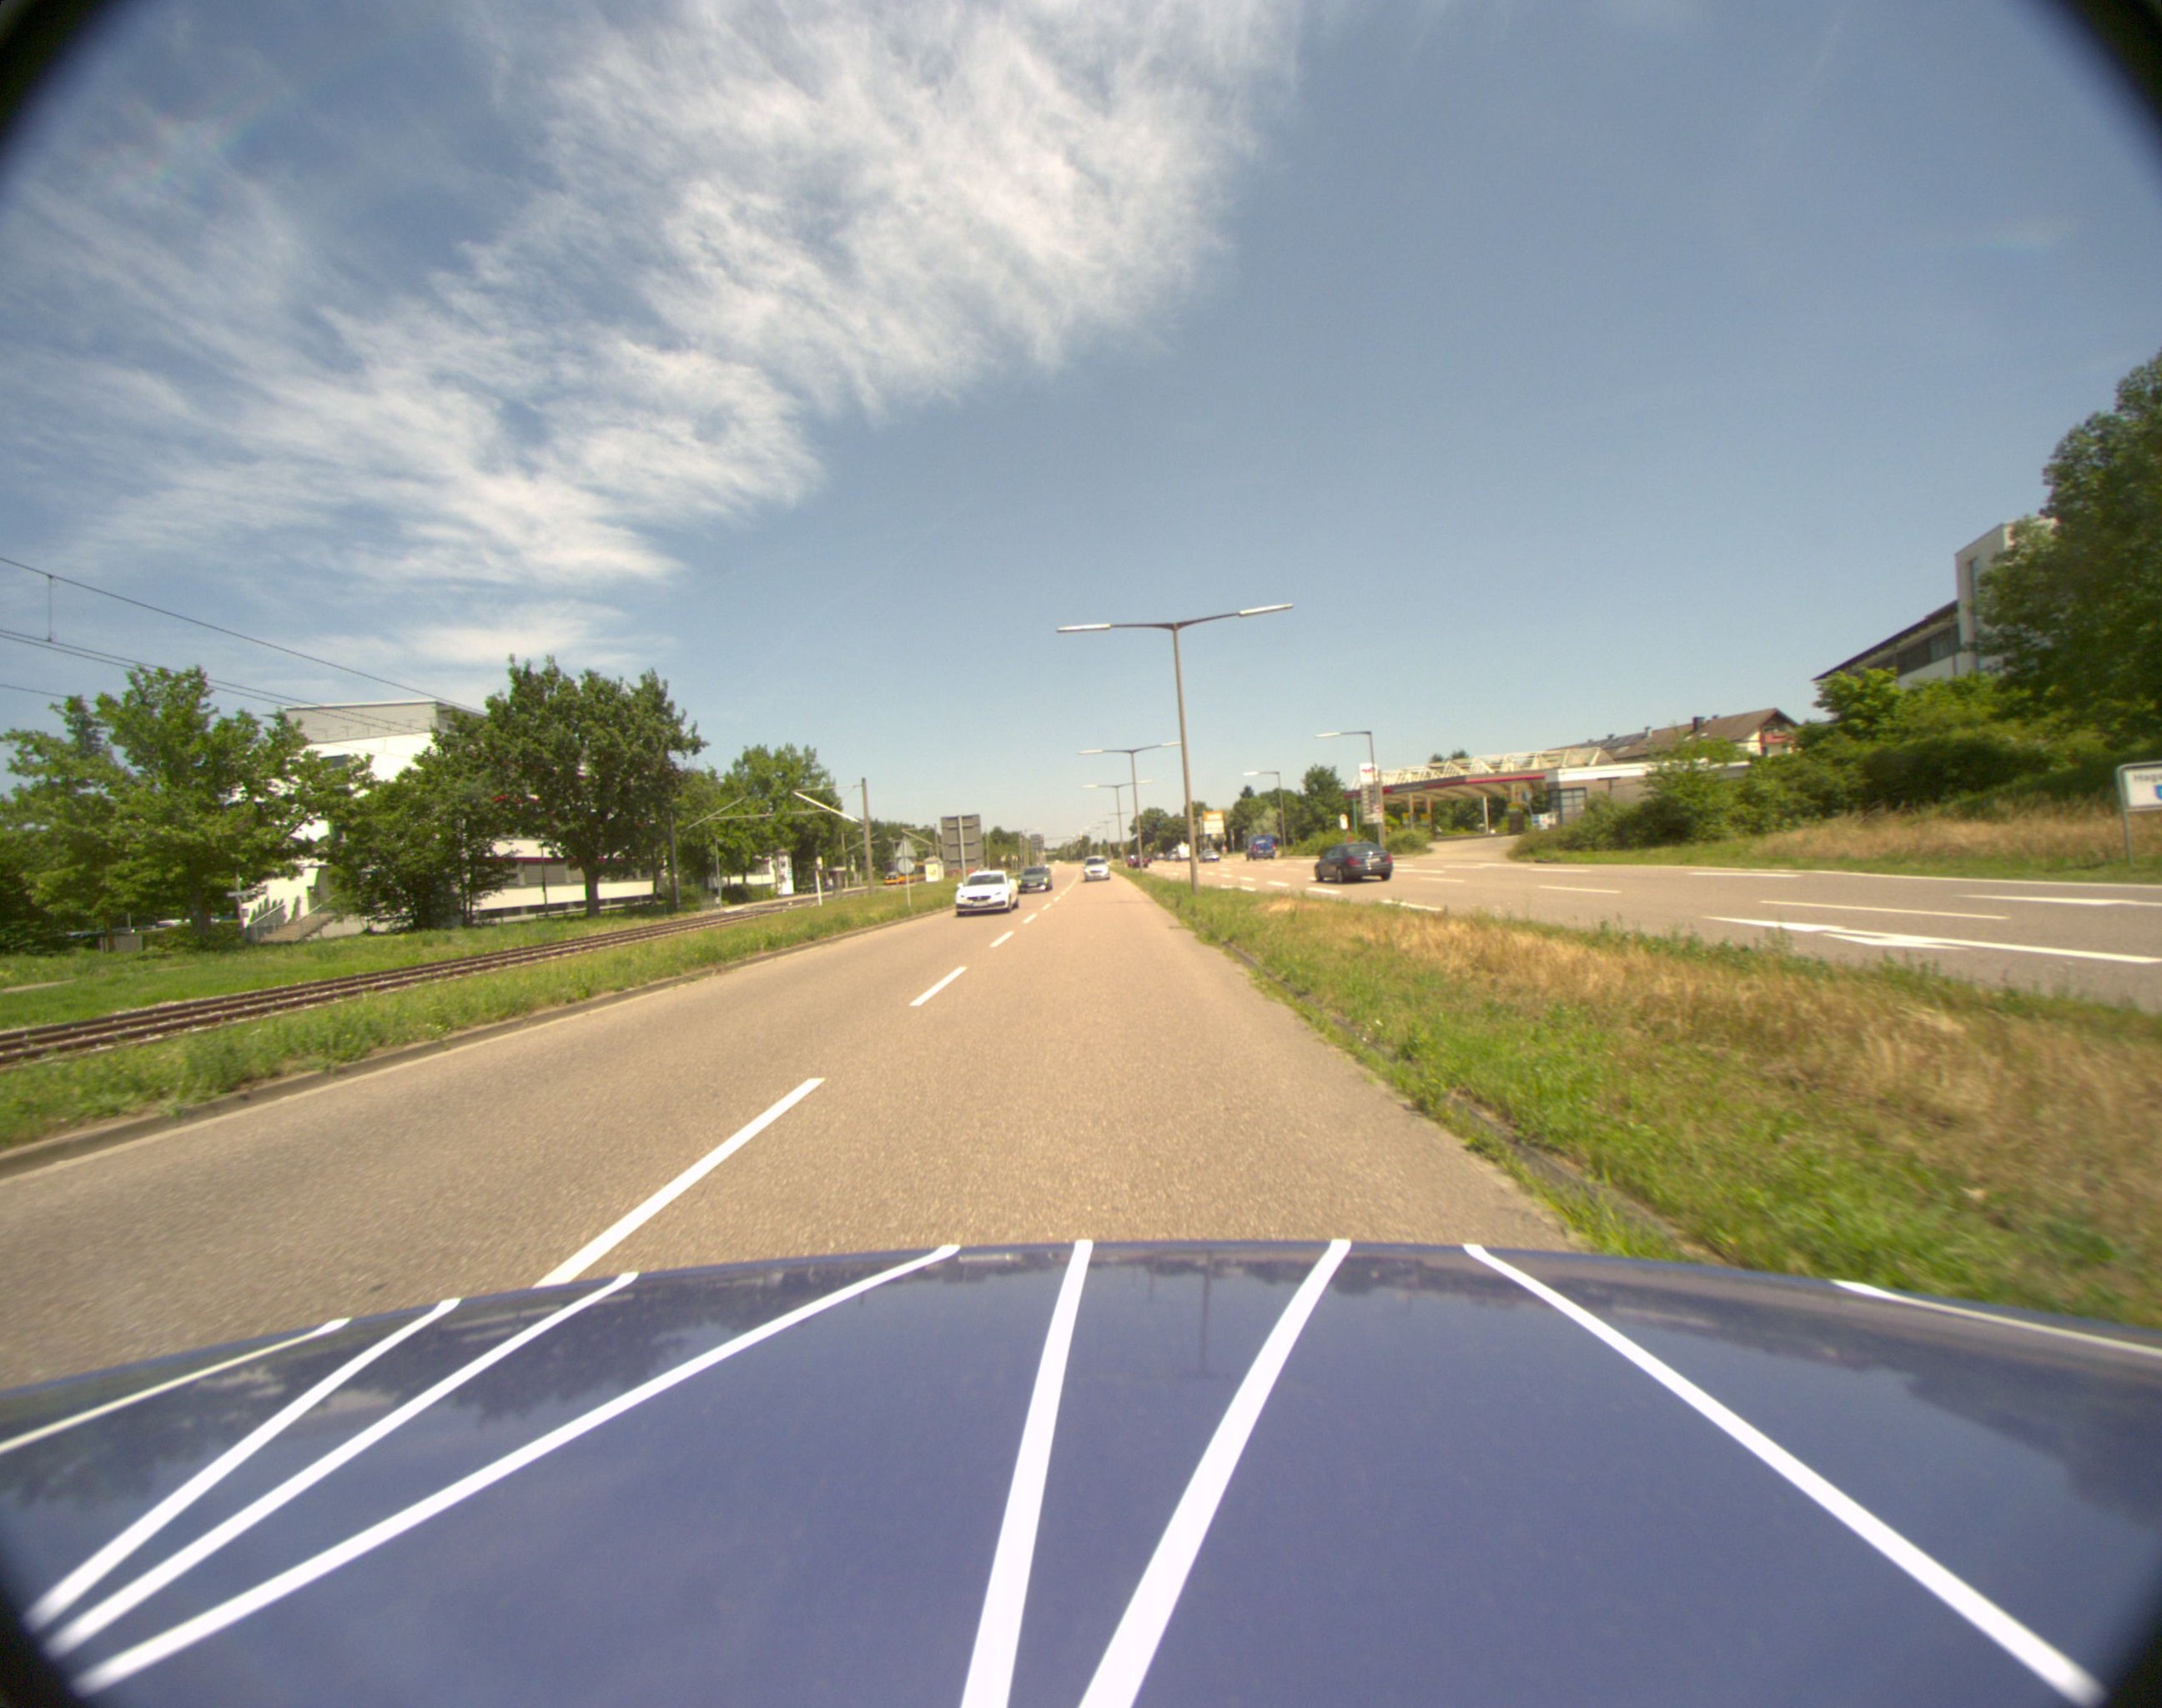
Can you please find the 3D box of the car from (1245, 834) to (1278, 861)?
[{"bbox_3d":[18.104,-0.646,76.522,2.178,2.397,5.673,-5,0,4],"label":"car"}]

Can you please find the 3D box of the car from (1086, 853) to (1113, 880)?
[{"bbox_3d":[1.345,0.879,57.579,1.876,1.865,5.732,-2,0,0],"label":"car"}]

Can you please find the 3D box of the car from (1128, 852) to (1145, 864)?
[{"bbox_3d":[7.326,0.512,100.617,1.663,1.481,4.000,-5,0,-1],"label":"car"}]

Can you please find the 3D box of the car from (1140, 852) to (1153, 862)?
[{"bbox_3d":[10.461,0.482,121.721,1.735,1.449,4.565,-4,0,2],"label":"car"}]

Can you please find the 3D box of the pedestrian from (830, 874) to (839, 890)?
[{"bbox_3d":[-25.764,2.903,79.440,0.553,1.598,0.690,-6,1,1],"label":"pedestrian"}]

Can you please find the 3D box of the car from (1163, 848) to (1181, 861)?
[{"bbox_3d":[14.147,0.076,118.216,1.970,1.740,5.021,-6,1,-1],"label":"car"}]

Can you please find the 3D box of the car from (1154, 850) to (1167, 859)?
[{"bbox_3d":[14.439,0.123,138.533,1.663,1.530,3.999,-7,0,-1],"label":"car"}]

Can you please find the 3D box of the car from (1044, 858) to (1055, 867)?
[{"bbox_3d":[-7.076,1.912,169.977,1.998,1.652,4.000,-4,0,2],"label":"car"}]

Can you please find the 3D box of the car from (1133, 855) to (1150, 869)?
[{"bbox_3d":[6.988,0.877,88.065,1.680,1.426,4.191,-5,0,1],"label":"car"}]

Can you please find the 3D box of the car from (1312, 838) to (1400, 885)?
[{"bbox_3d":[9.971,0.263,27.877,1.696,1.483,4.000,-4,0,0],"label":"car"}]

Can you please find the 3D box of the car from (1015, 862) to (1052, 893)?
[{"bbox_3d":[-2.759,1.351,45.060,1.723,1.587,4.000,-4,0,1],"label":"car"}]

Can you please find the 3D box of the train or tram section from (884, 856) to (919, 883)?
[{"bbox_3d":[-26.393,2.212,112.357,2.822,3.560,12.497,-4,0,-4],"label":"train or tram section"}]

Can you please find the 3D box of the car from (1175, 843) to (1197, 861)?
[{"bbox_3d":[14.434,-0.278,104.596,2.255,2.260,5.449,-6,0,1],"label":"car"}]

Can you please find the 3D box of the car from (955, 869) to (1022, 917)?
[{"bbox_3d":[-3.128,1.290,26.610,1.686,1.381,4.451,-3,0,1],"label":"car"}]

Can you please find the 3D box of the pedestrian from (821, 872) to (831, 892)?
[{"bbox_3d":[-25.004,2.750,74.378,0.696,1.831,0.711,-6,1,-15],"label":"pedestrian"}]

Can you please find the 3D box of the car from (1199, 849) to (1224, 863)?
[{"bbox_3d":[14.774,0.205,86.233,1.836,1.440,4.851,-4,0,0],"label":"car"}]
